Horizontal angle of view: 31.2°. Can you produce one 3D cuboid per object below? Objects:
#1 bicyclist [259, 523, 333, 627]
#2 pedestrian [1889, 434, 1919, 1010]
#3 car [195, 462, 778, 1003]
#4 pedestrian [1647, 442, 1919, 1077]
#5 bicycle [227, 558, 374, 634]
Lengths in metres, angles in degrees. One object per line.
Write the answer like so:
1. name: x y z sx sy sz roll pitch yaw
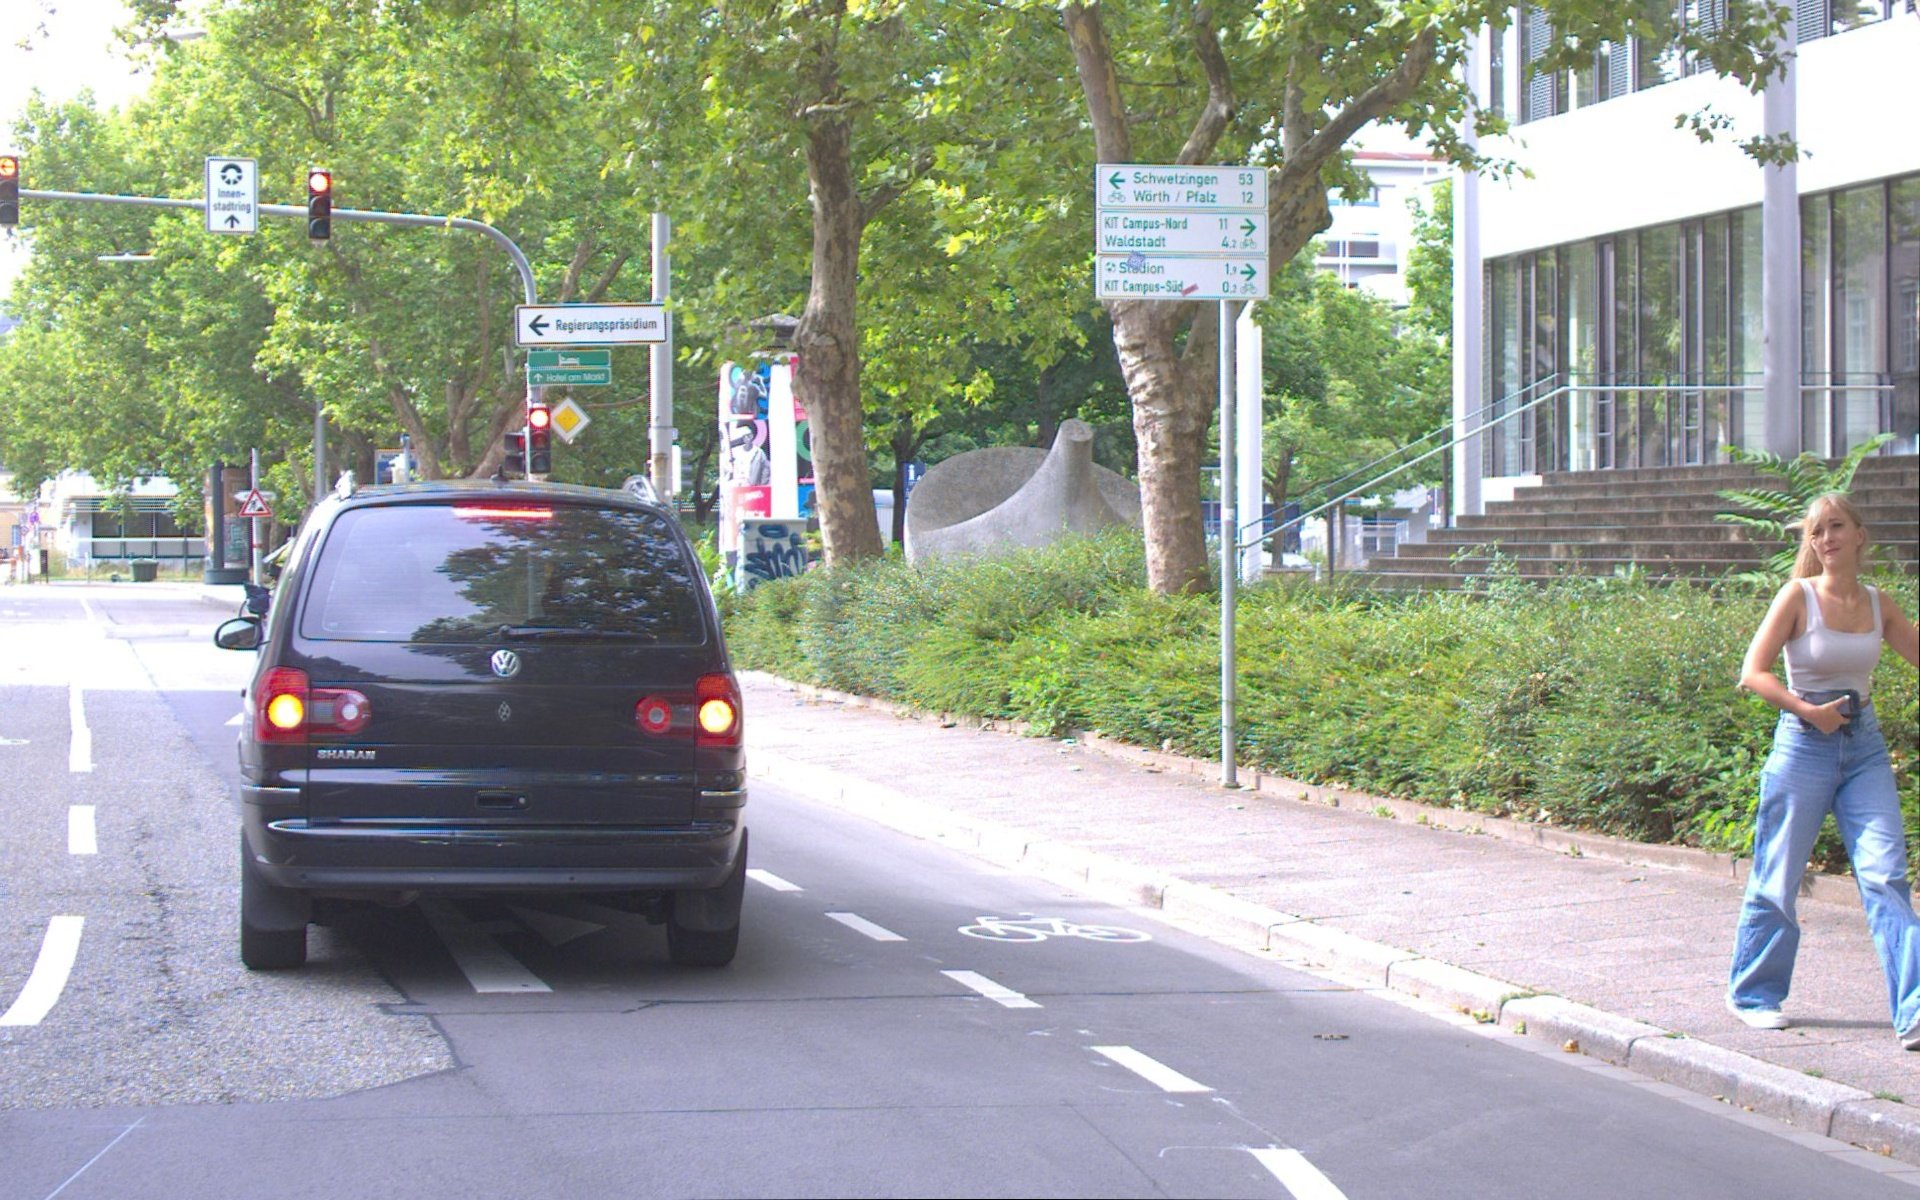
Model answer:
1. bicyclist: -9.746 -0.377 50.448 0.914 1.509 0.626 -1 1 -27
2. pedestrian: 3.427 0.375 10.403 0.714 1.794 1.034 -2 1 -16
3. car: -1.847 0.379 13.439 1.873 1.739 4.575 0 1 -8
4. pedestrian: 2.636 0.435 10.251 0.710 1.777 1.034 -2 1 -16
5. bicycle: -9.683 -0.067 50.483 2.018 1.090 0.627 0 1 -27
